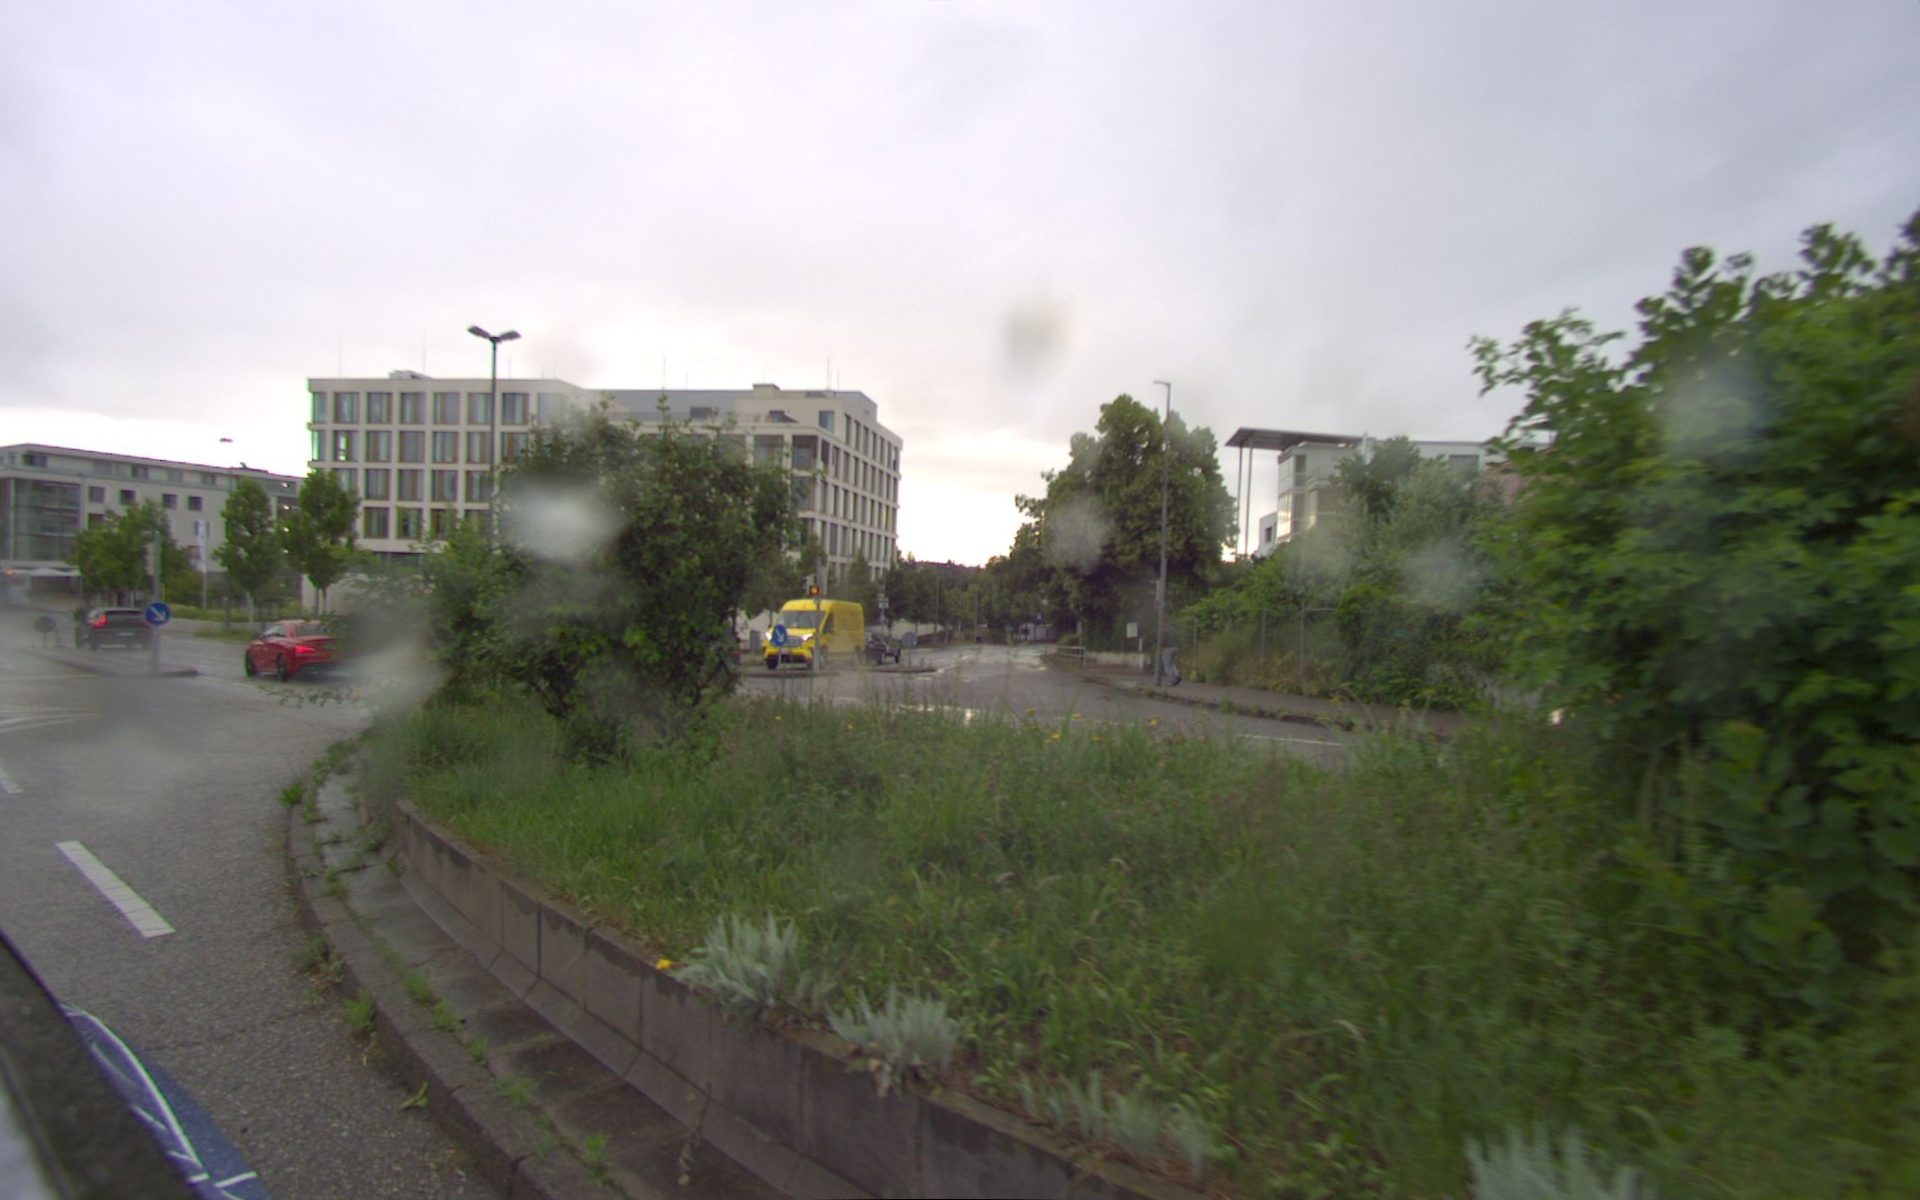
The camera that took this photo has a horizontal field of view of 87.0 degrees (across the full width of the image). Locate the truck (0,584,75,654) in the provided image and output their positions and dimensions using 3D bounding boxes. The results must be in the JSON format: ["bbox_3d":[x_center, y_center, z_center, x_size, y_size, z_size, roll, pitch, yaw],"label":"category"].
[{"bbox_3d":[-35.562,0.663,38.522,6.199,2.458,2.140,0,0,43],"label":"truck"}]

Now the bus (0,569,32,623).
[{"bbox_3d":[-80.372,-0.370,82.890,18.196,4.025,2.917,0,-2,37],"label":"bus"}]

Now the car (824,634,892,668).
[{"bbox_3d":[-4.337,2.165,43.539,1.844,1.327,4.343,2,-2,9],"label":"car"}]

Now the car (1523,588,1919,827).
[{"bbox_3d":[7.240,0.778,7.979,4.596,1.674,1.972,-1,-2,42],"label":"car"}]

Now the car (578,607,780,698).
[{"bbox_3d":[-5.593,0.972,19.960,3.998,1.590,1.972,-1,-2,41],"label":"car"}]

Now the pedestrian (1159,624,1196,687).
[{"bbox_3d":[5.314,1.336,24.757,0.556,1.487,0.682,-1,1,-39],"label":"pedestrian"}]

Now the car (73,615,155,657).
[{"bbox_3d":[-33.199,1.380,39.683,4.073,1.564,1.883,0,-2,42],"label":"car"}]

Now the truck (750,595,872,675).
[{"bbox_3d":[-5.180,1.253,36.242,2.206,2.557,6.150,1,-2,12],"label":"truck"}]

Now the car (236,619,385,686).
[{"bbox_3d":[-16.099,1.224,25.006,4.430,1.424,1.972,0,0,42],"label":"car"}]

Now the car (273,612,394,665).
[{"bbox_3d":[-19.825,1.199,31.974,4.292,1.489,1.930,0,-3,40],"label":"car"}]
